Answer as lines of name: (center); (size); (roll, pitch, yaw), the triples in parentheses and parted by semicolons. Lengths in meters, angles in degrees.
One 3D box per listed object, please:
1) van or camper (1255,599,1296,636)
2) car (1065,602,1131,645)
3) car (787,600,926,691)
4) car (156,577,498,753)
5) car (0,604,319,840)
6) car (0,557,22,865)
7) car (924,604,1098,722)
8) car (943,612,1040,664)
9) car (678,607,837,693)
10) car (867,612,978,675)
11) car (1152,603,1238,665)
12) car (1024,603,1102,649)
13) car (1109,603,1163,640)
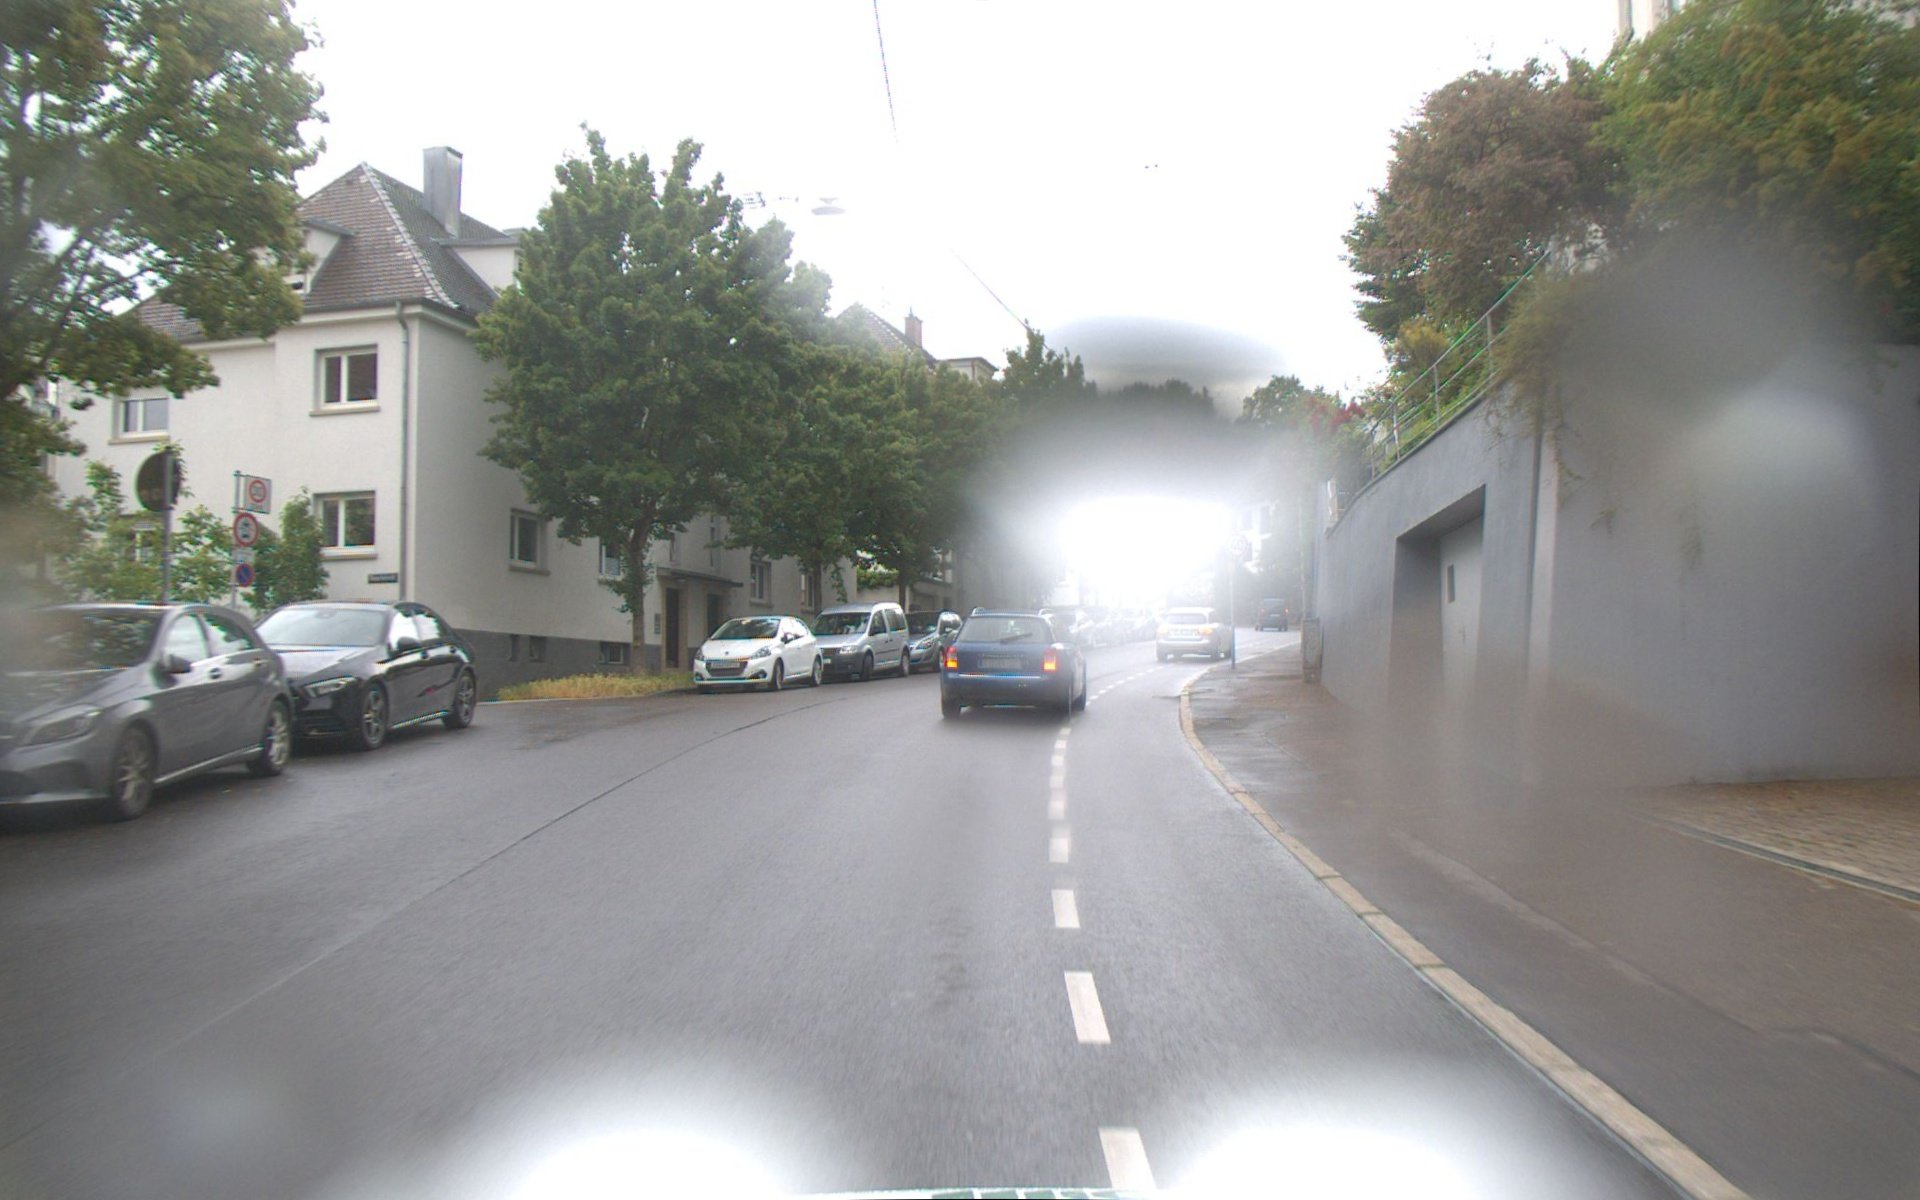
van or camper: (18.649, 1.041, 97.686); (1.951, 2.049, 4.001); (0, -2, 17)
car: (5.509, 0.914, 65.677); (1.766, 1.655, 4.141); (0, -1, 17)
car: (-2.391, 1.075, 39.494); (1.873, 2.036, 4.550); (0, -1, 16)
car: (-6.369, 0.607, 17.260); (1.738, 1.567, 4.517); (1, 0, 1)
car: (-6.248, 0.748, 12.195); (1.582, 1.421, 4.320); (0, 0, -3)
car: (-6.237, 0.607, 7.124); (1.816, 1.720, 4.554); (1, 0, -1)
car: (0.812, 0.794, 22.782); (1.814, 1.439, 4.365); (-1, 0, 9)
car: (1.001, 1.132, 49.360); (1.766, 1.479, 4.599); (0, -1, 16)
car: (-4.023, 1.015, 33.596); (1.746, 1.541, 4.349); (-4, -2, 13)
car: (-0.946, 1.171, 44.280); (1.766, 1.512, 4.238); (-3, -2, 15)
car: (6.787, 0.941, 47.415); (1.909, 1.588, 4.266); (2, 1, 15)
car: (3.789, 0.966, 59.908); (1.766, 1.579, 4.802); (0, -1, 17)
car: (7.808, 0.914, 73.119); (1.676, 1.488, 3.883); (0, 1, 18)
